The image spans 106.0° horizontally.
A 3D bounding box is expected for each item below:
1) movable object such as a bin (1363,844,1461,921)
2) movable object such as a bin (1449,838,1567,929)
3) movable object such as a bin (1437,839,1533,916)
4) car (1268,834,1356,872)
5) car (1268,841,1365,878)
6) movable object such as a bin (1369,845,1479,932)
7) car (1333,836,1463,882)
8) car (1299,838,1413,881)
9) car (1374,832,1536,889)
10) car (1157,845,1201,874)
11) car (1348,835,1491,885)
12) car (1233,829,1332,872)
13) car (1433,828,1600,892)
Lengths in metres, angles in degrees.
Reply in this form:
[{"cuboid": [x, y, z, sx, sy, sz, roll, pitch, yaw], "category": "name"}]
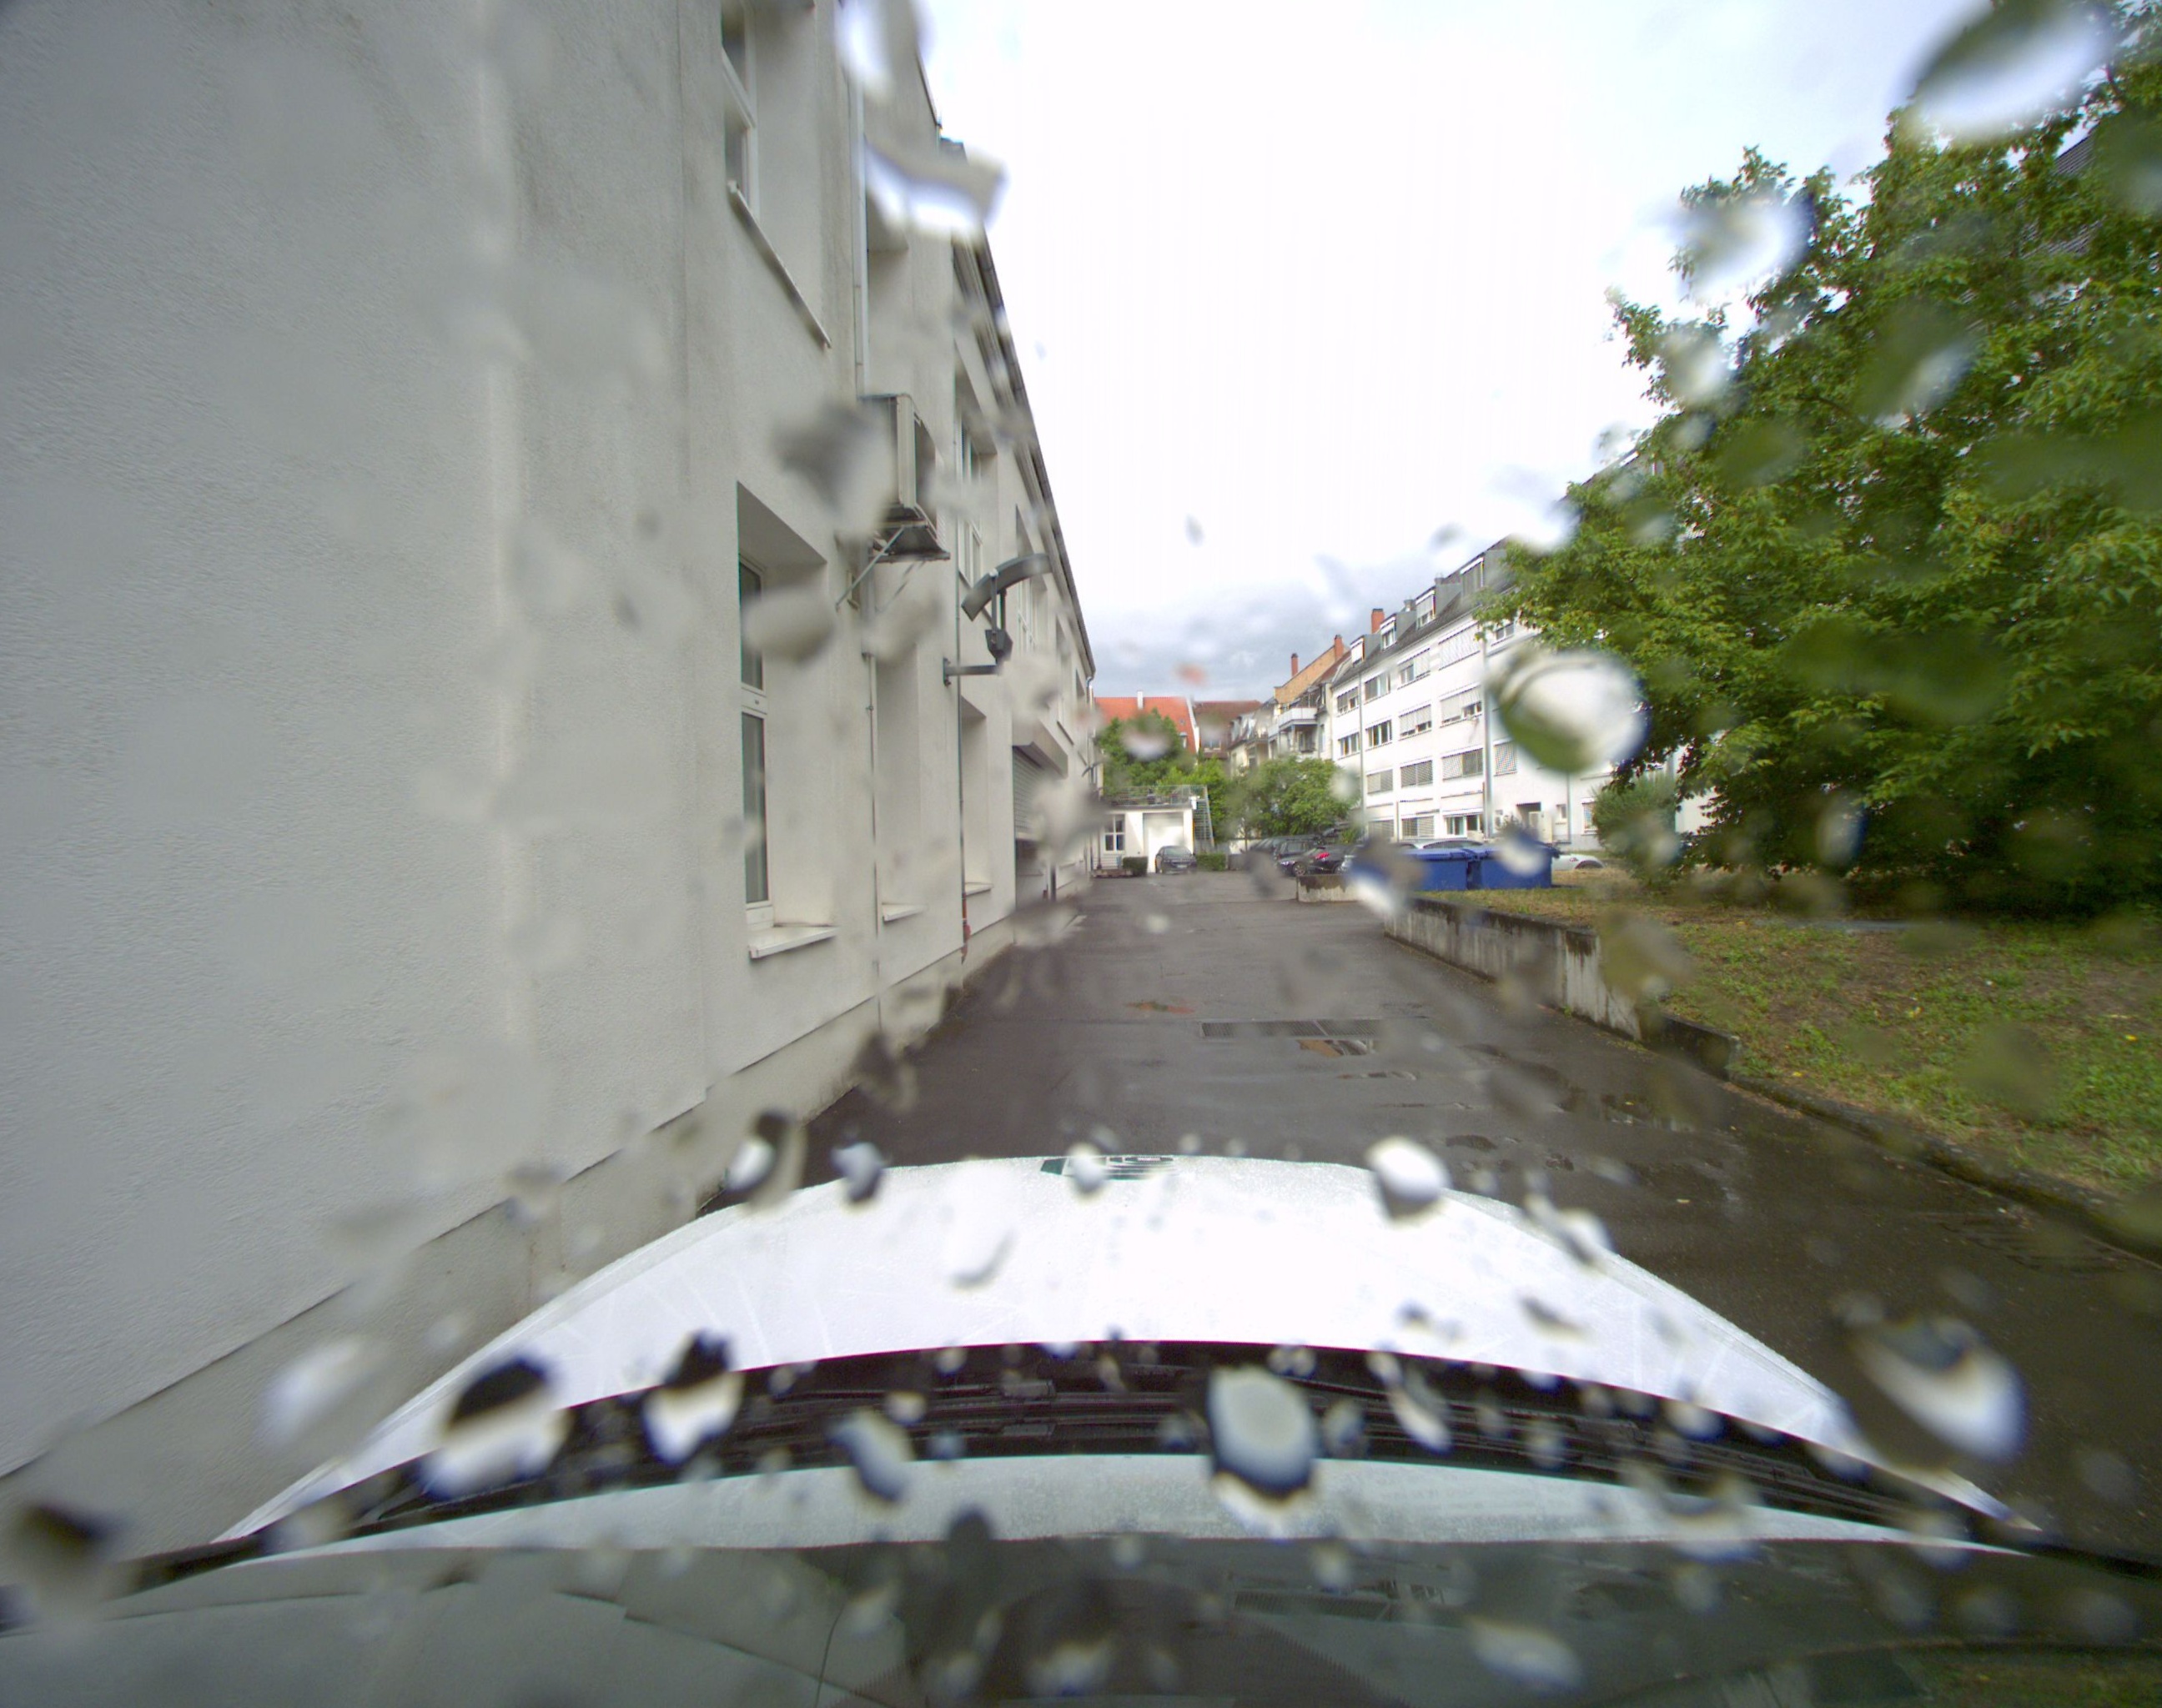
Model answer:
[{"cuboid": [6.008, 0.510, 14.854, 1.365, 1.304, 1.084, -2, 0, 5], "category": "movable object such as a bin"}, {"cuboid": [6.799, 0.453, 13.069, 1.286, 1.336, 1.199, -2, 0, 5], "category": "movable object such as a bin"}, {"cuboid": [7.298, 0.406, 14.782, 1.180, 1.304, 1.108, -2, 0, 4], "category": "movable object such as a bin"}, {"cuboid": [11.466, -0.036, 40.603, 3.894, 1.687, 1.818, -3, 0, 2], "category": "car"}, {"cuboid": [10.744, 0.243, 37.342, 3.898, 1.513, 1.751, -3, 0, -2], "category": "car"}, {"cuboid": [5.472, 0.528, 13.086, 1.331, 1.292, 1.097, -2, 1, 5], "category": "movable object such as a bin"}, {"cuboid": [11.409, 0.191, 29.470, 3.977, 1.458, 1.772, -2, 0, -2], "category": "car"}, {"cuboid": [11.030, 0.234, 32.804, 3.901, 1.513, 1.817, -3, 0, -4], "category": "car"}, {"cuboid": [11.085, 0.174, 24.319, 3.974, 1.445, 1.806, -3, 0, 0], "category": "car"}, {"cuboid": [5.158, 0.269, 43.345, 1.972, 1.444, 4.002, -1, 0, 1], "category": "car"}, {"cuboid": [11.198, 0.193, 27.092, 3.976, 1.403, 1.772, -3, 0, -2], "category": "car"}, {"cuboid": [10.699, -0.195, 43.457, 4.631, 2.003, 2.220, -3, 1, -7], "category": "car"}, {"cuboid": [11.281, 0.161, 21.246, 3.403, 1.427, 1.688, -3, -1, 1], "category": "car"}]
